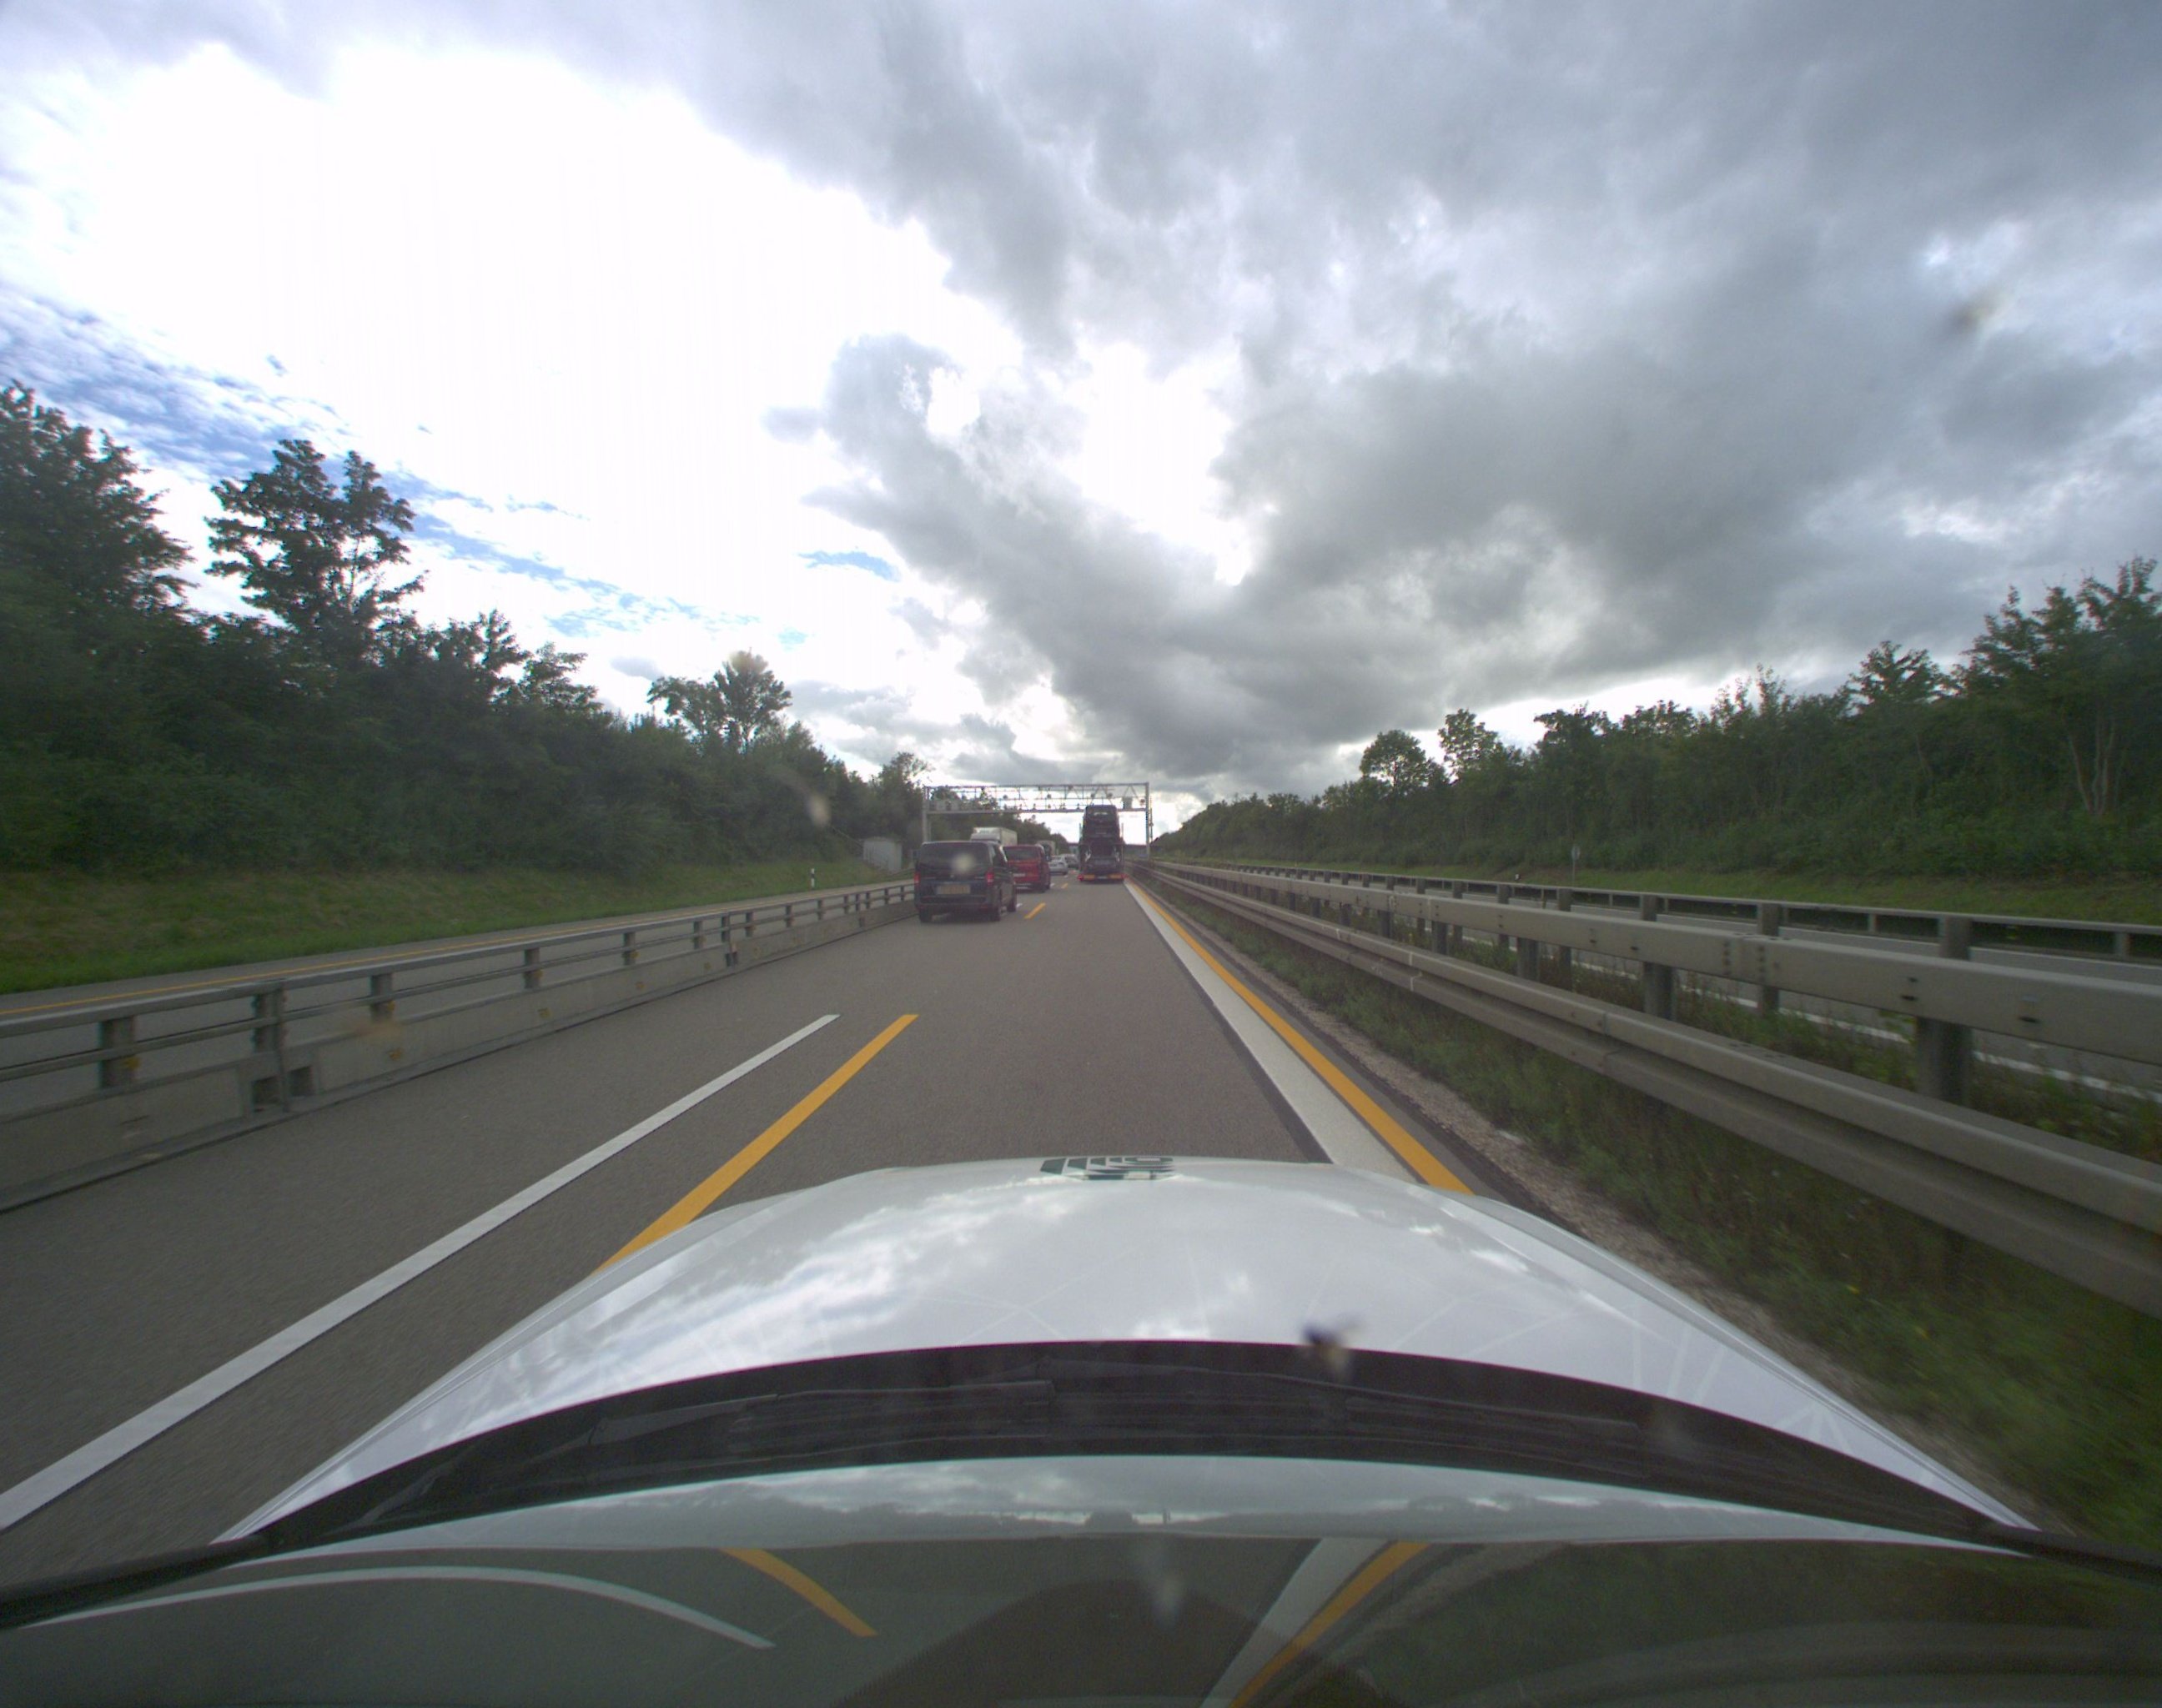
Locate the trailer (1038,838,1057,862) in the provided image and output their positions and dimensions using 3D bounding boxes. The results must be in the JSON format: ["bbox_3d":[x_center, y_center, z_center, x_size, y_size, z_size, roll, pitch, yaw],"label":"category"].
[{"bbox_3d":[-6.204,-0.745,151.730,2.589,4.154,13.995,0,0,1],"label":"trailer"}]

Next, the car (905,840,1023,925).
[{"bbox_3d":[-2.778,0.637,20.703,1.986,1.843,5.611,-1,0,1],"label":"car"}]

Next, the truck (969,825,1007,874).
[{"bbox_3d":[-8.298,-0.414,72.982,2.589,4.155,5.621,0,0,1],"label":"truck"}]

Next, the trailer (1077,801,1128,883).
[{"bbox_3d":[1.274,-0.562,46.602,2.506,4.105,11.118,-1,0,2],"label":"trailer"}]

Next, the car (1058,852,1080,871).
[{"bbox_3d":[-1.198,0.746,82.384,2.024,1.757,4.578,-1,0,1],"label":"car"}]

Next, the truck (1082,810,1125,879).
[{"bbox_3d":[1.459,-0.543,51.354,2.506,4.105,5.688,-1,0,2],"label":"truck"}]

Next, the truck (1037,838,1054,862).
[{"bbox_3d":[-6.348,-0.710,144.950,2.589,4.155,5.621,0,0,1],"label":"truck"}]

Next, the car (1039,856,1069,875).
[{"bbox_3d":[-2.045,0.861,62.416,2.024,1.431,4.578,-1,0,1],"label":"car"}]

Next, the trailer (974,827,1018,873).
[{"bbox_3d":[-8.162,-0.398,79.940,2.589,4.154,13.995,0,0,1],"label":"trailer"}]

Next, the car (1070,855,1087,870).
[{"bbox_3d":[-0.288,1.053,100.693,2.024,1.757,4.578,-1,0,0],"label":"car"}]

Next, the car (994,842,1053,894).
[{"bbox_3d":[-2.334,0.558,34.283,2.023,2.014,4.579,-1,0,1],"label":"car"}]
